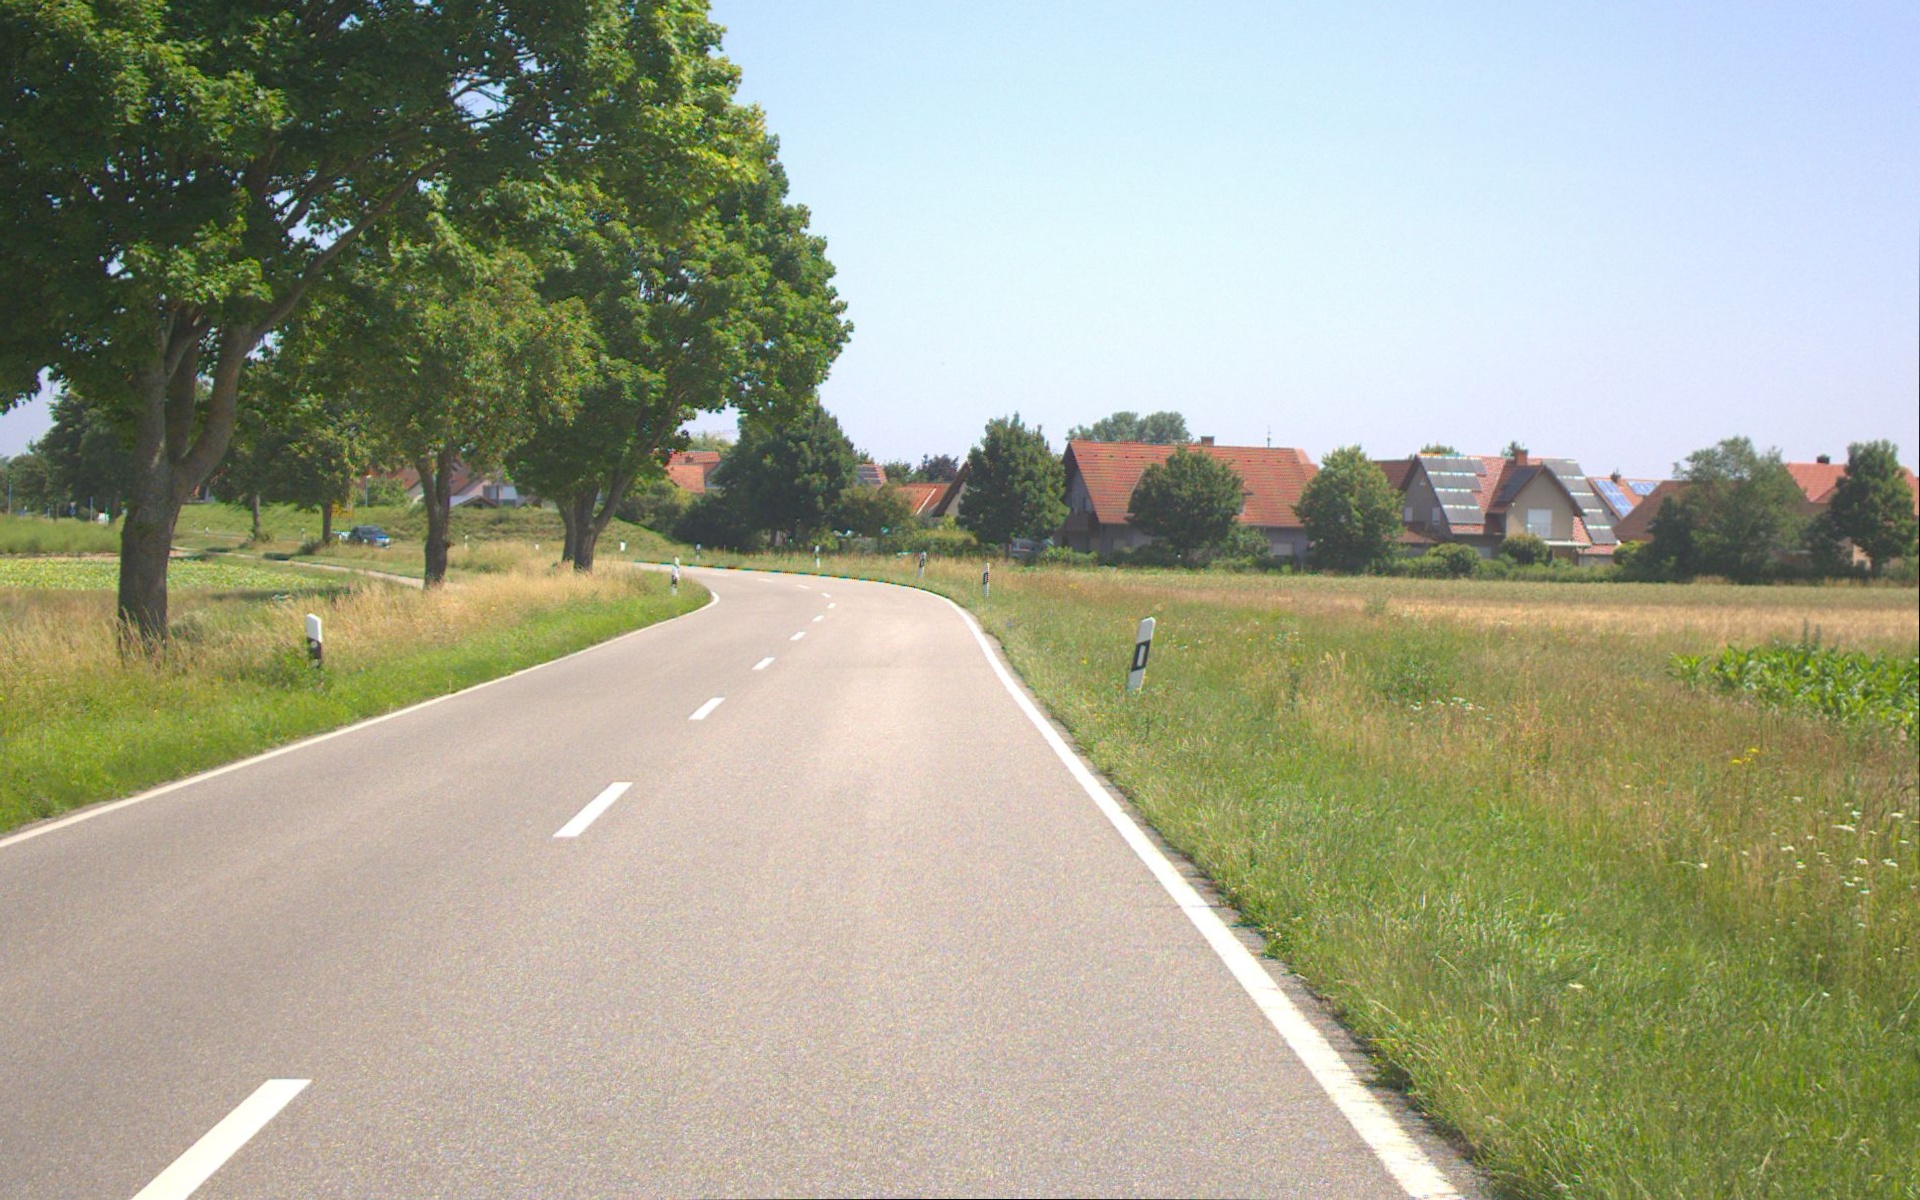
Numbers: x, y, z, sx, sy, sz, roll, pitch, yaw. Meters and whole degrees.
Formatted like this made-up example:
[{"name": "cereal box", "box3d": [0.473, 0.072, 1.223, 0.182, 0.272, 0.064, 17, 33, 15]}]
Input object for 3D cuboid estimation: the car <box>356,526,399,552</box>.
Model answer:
[{"name": "car", "box3d": [-33.530, -3.516, 197.684, 1.643, 1.424, 4.181, -2, 2, -20]}]
